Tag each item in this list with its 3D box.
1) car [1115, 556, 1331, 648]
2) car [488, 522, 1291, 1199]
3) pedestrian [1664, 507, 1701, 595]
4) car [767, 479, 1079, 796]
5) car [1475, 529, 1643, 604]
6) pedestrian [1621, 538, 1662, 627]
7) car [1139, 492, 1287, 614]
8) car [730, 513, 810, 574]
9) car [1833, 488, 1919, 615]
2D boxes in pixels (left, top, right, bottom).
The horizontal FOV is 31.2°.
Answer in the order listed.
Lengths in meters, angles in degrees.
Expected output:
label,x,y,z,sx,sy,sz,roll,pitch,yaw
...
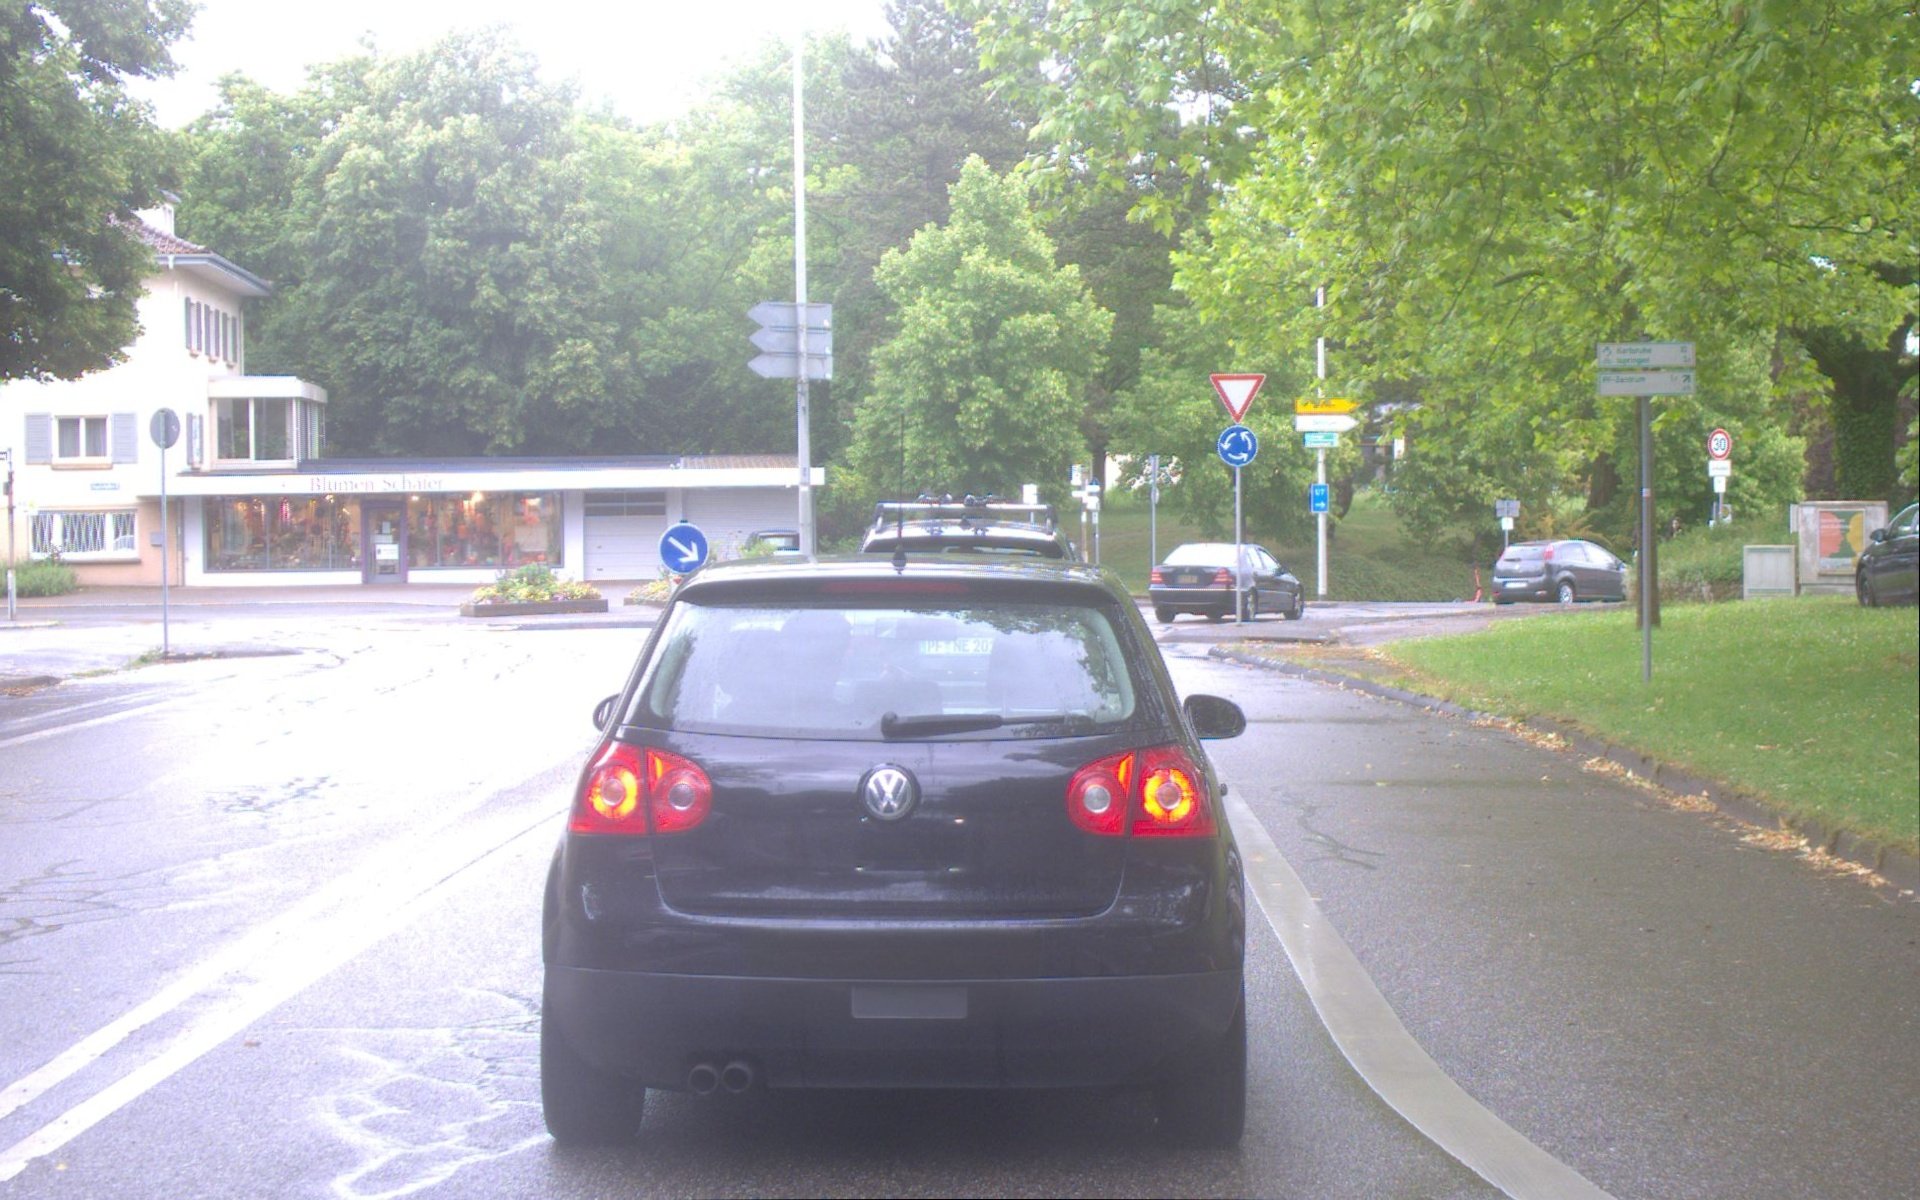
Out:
label,x,y,z,sx,sy,sz,roll,pitch,yaw
car,4.624,0.026,60.033,1.997,1.525,3.992,1,1,35
car,-0.189,0.585,9.661,1.764,1.533,4.000,1,1,-1
pedestrian,14.127,-0.961,67.240,0.634,1.707,0.529,1,0,17
car,-0.250,0.193,22.064,1.764,1.795,4.246,-2,1,-1
car,12.677,-0.696,72.601,1.997,1.525,3.992,1,1,35
pedestrian,13.209,-0.341,66.635,0.528,1.707,0.636,1,0,-14
car,3.786,-0.708,52.088,1.993,1.735,4.144,1,1,1
car,-4.960,-1.479,89.381,1.812,1.481,3.832,-2,1,-6
car,11.899,-0.610,40.843,1.764,1.466,4.598,-2,1,-1
